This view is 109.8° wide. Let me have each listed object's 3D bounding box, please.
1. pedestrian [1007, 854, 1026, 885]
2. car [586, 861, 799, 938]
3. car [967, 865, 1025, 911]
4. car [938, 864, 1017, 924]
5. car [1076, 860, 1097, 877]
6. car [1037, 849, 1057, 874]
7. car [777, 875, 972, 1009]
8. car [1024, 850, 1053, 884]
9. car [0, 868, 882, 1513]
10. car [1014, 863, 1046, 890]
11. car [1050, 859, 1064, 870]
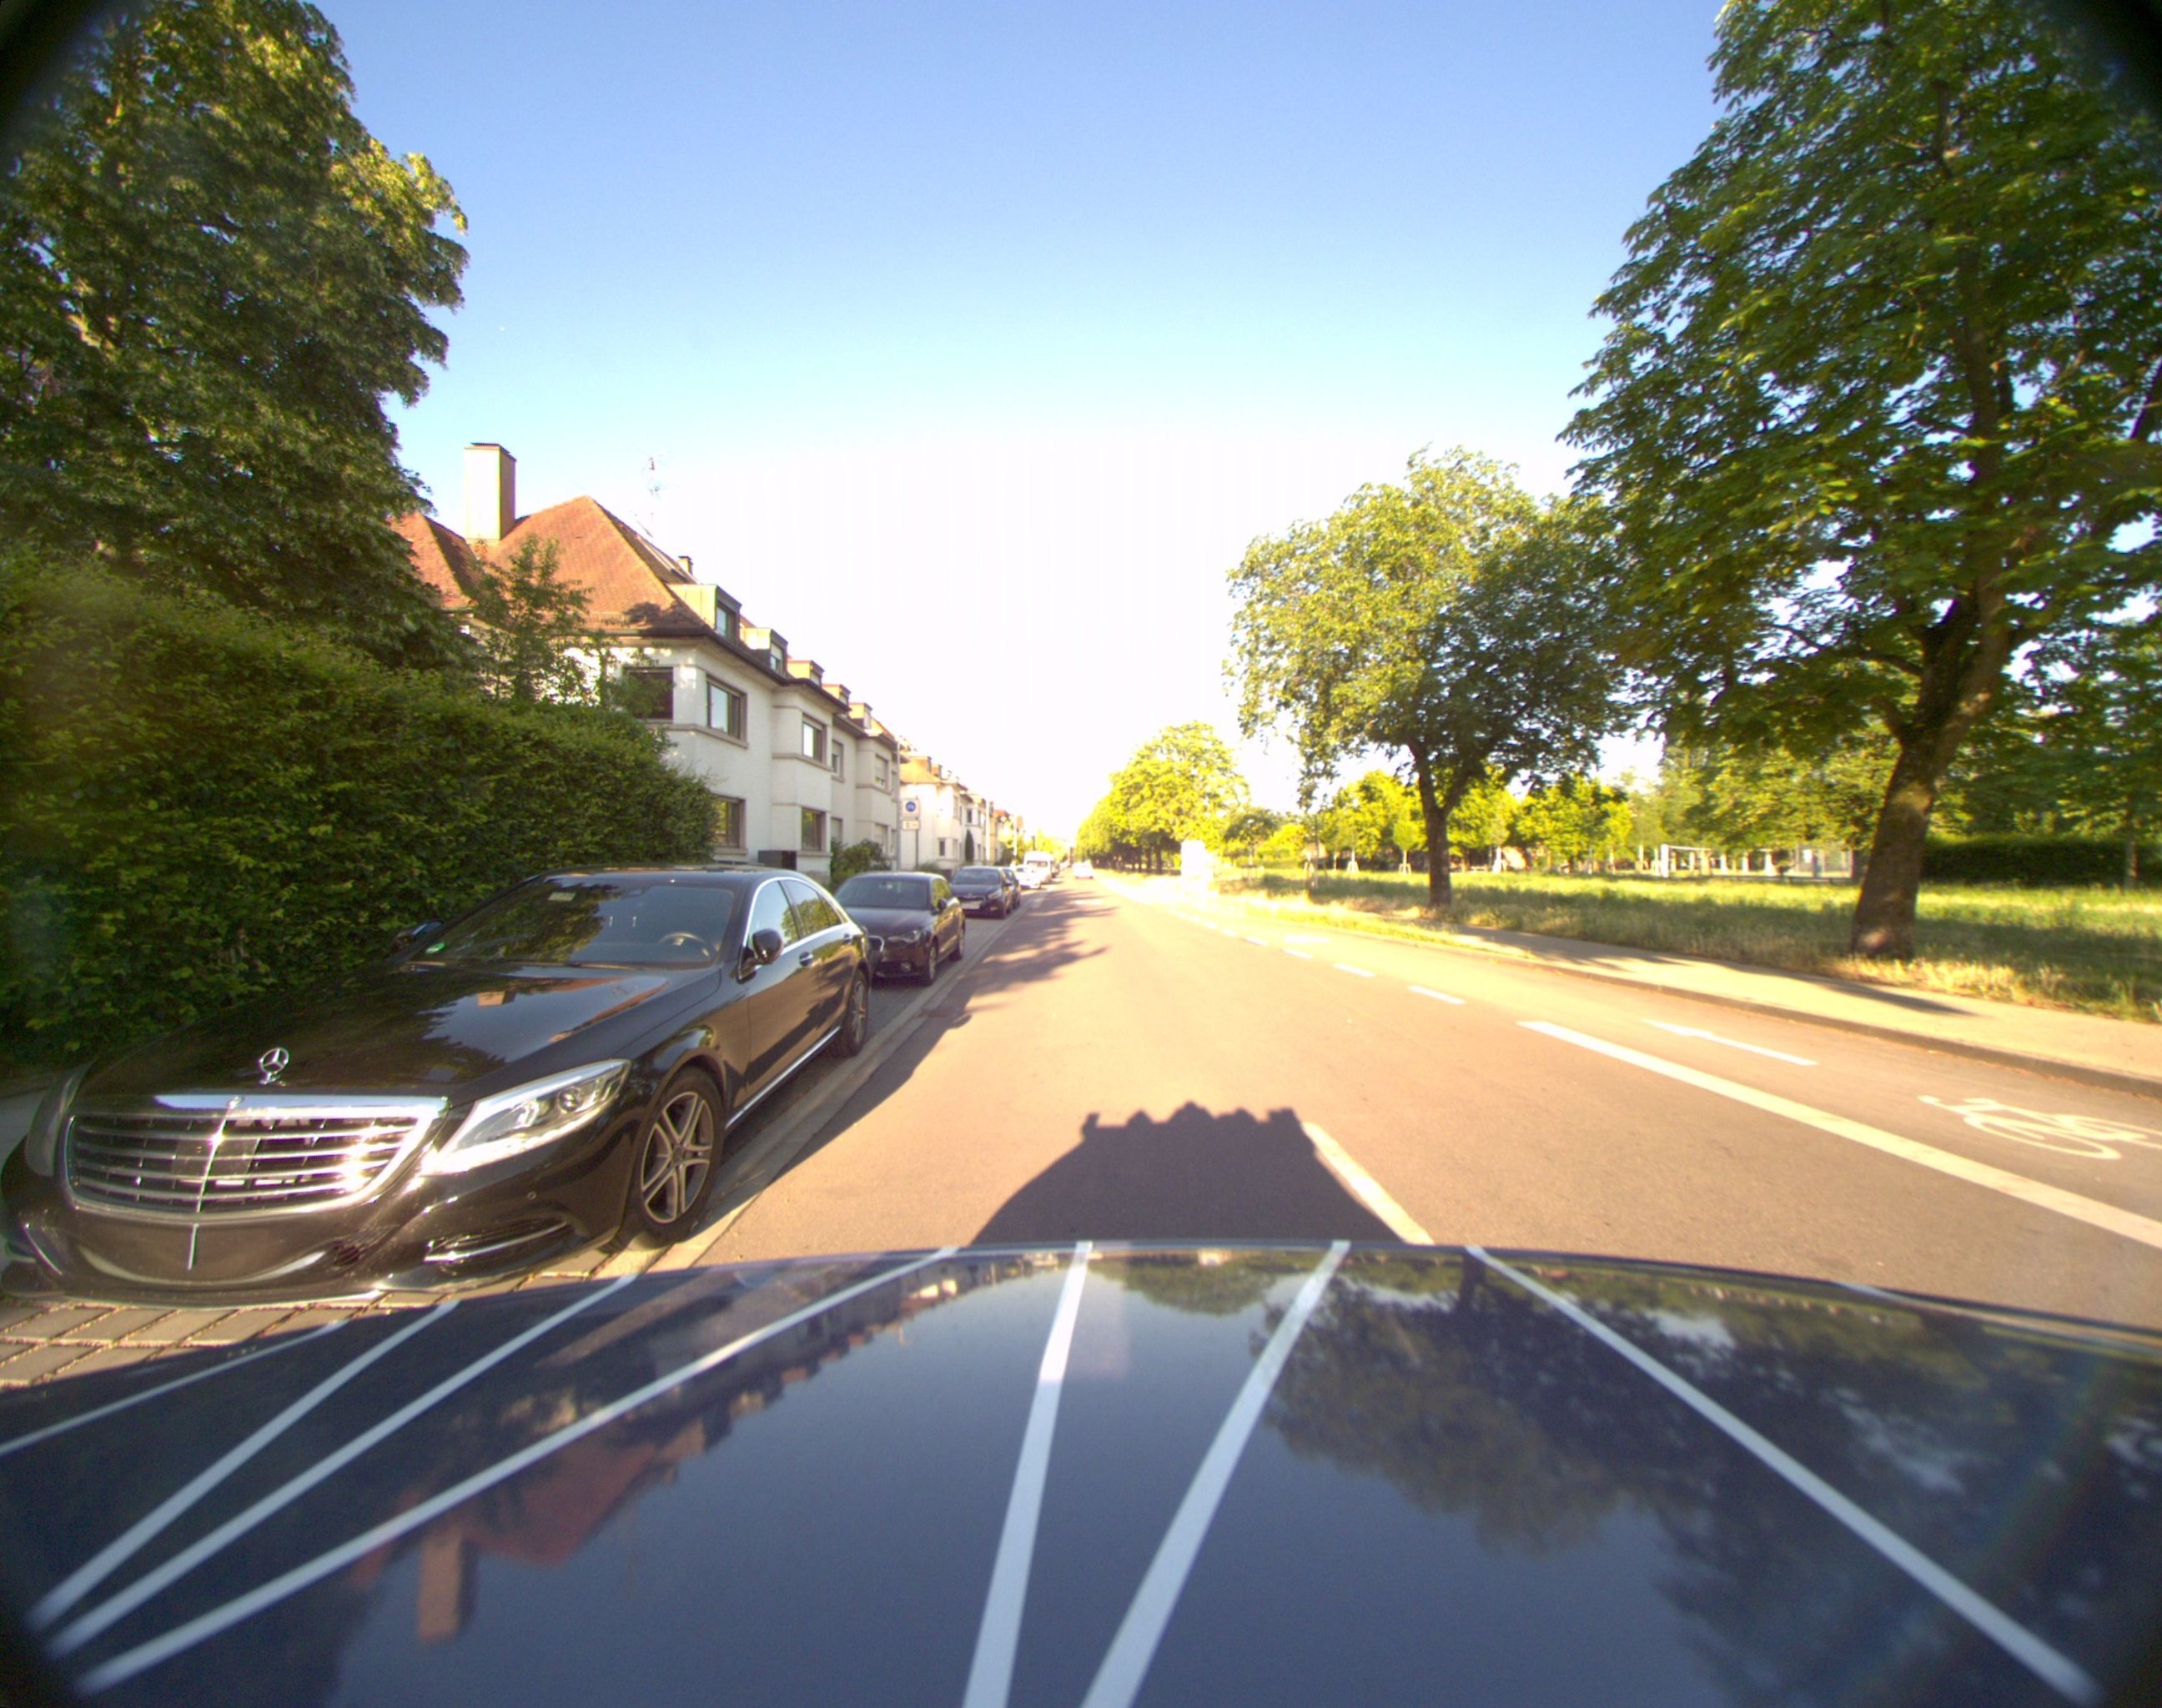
[{"bbox_3d":[-4.220,1.005,49.691,1.089,2.002,0.865,0,0,-16],"label":"pedestrian"},{"bbox_3d":[-8.225,0.937,16.378,3.644,1.487,1.780,2,0,-5],"label":"car"},{"bbox_3d":[-3.003,1.166,27.565,1.723,1.463,3.983,2,0,-2],"label":"car"},{"bbox_3d":[-2.922,1.088,22.234,1.751,1.466,4.255,3,0,-2],"label":"car"},{"bbox_3d":[0.586,1.537,80.145,1.896,1.667,4.423,-1,0,-4],"label":"car"},{"bbox_3d":[-3.990,0.916,90.236,2.134,2.837,5.987,-1,0,-1],"label":"car"},{"bbox_3d":[-2.653,1.063,10.715,1.645,1.419,3.936,2,0,0],"label":"car"},{"bbox_3d":[-3.295,1.008,59.752,2.135,2.503,5.507,1,0,-2],"label":"car"},{"bbox_3d":[-2.628,0.902,4.344,1.864,1.533,4.872,1,0,-3],"label":"car"},{"bbox_3d":[-3.094,1.339,46.692,1.787,1.498,4.233,-1,0,-2],"label":"car"},{"bbox_3d":[-3.656,1.614,116.661,1.974,1.630,4.000,2,-1,-1],"label":"car"}]
